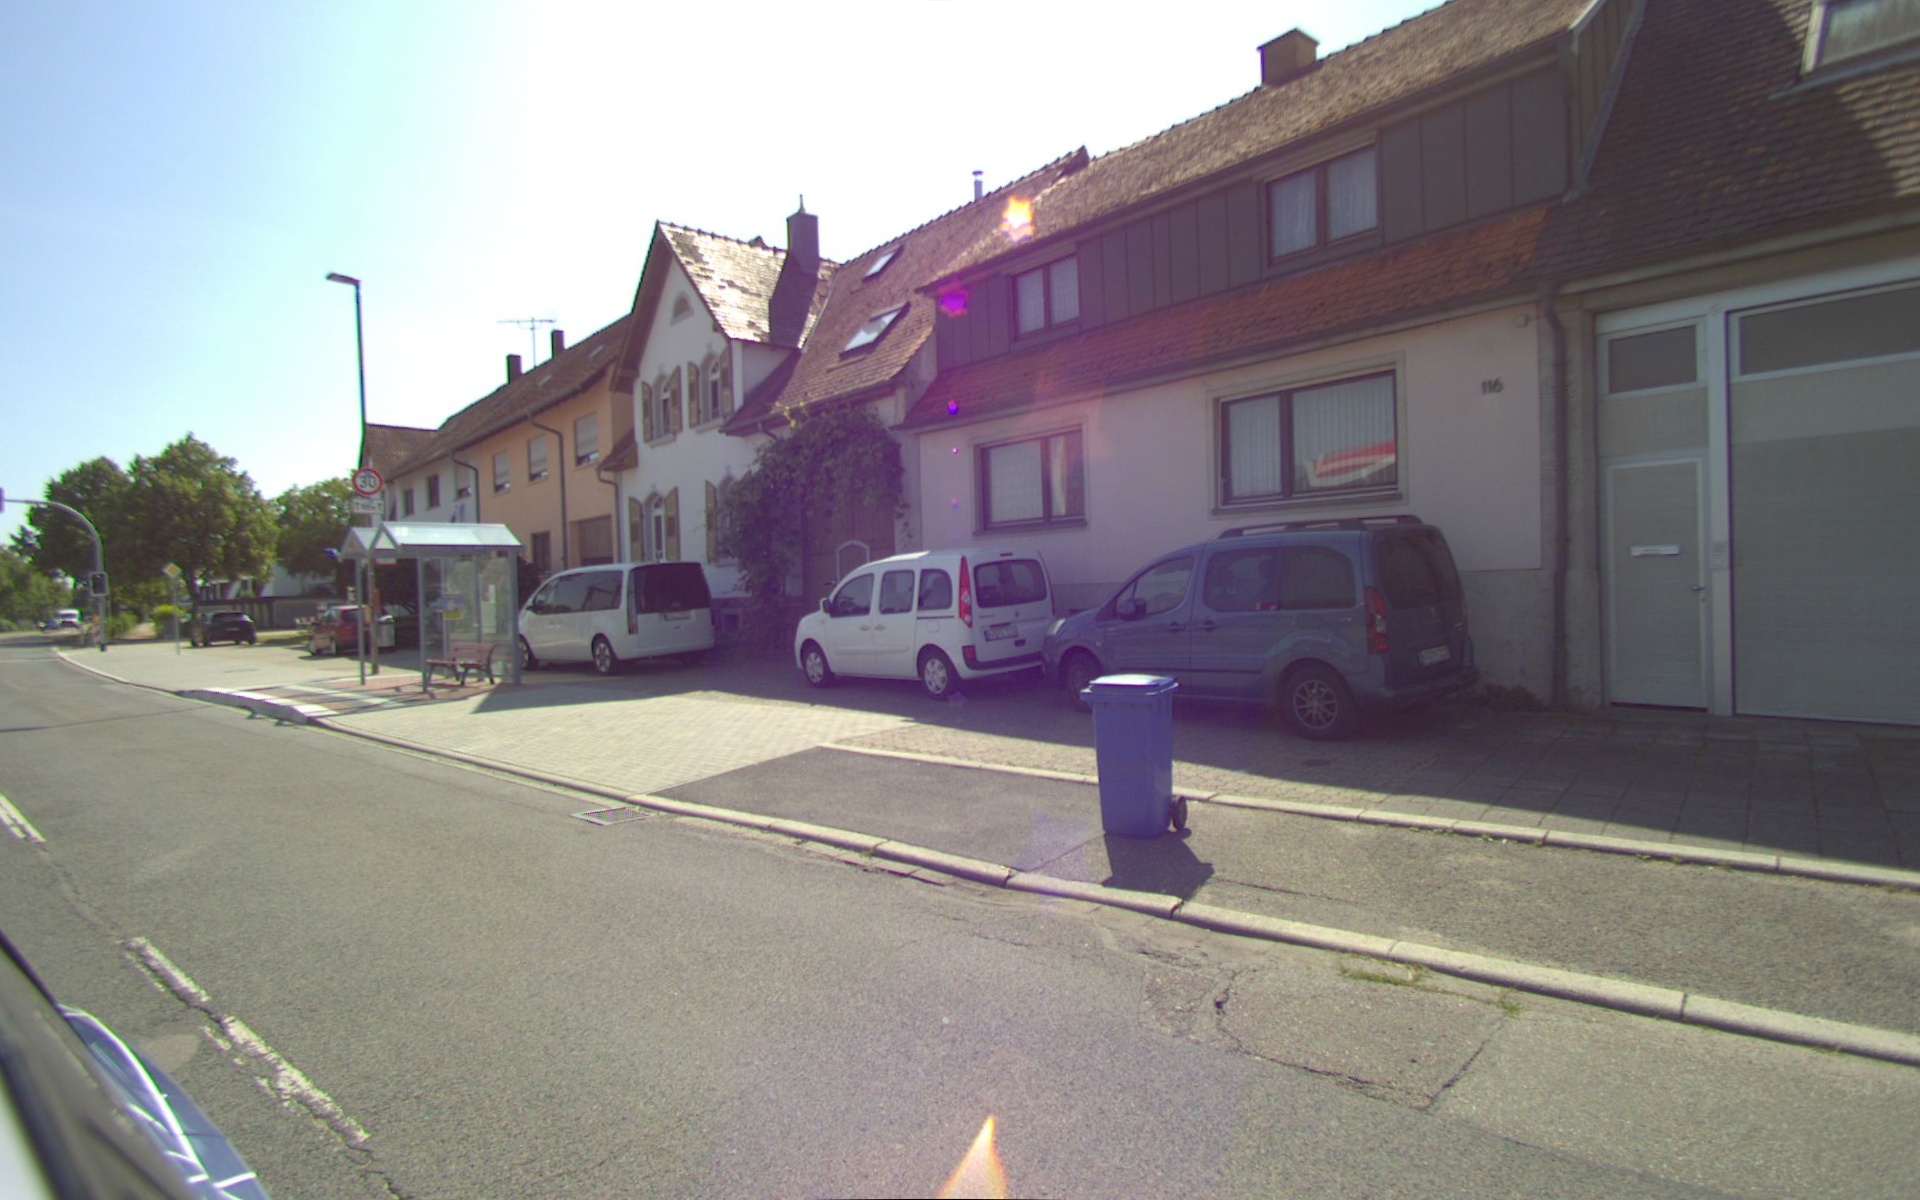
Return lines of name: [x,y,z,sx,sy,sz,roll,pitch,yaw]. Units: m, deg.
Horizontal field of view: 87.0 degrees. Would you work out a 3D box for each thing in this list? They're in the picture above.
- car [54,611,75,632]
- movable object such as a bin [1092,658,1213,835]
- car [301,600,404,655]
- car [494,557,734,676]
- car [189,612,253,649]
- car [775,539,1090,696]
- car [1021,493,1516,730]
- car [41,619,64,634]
car: [-116.605,2.774,131.858,1.910,2.521,5.847,-1,0,-40]
movable object such as a bin: [1.163,0.850,6.081,0.513,0.943,0.553,-1,2,33]
car: [-18.396,0.855,30.594,3.916,1.464,1.695,-3,0,45]
car: [-6.835,0.266,19.648,5.265,2.001,2.103,-1,1,43]
car: [-31.532,1.252,43.134,1.694,1.418,4.402,0,0,-43]
car: [-0.523,0.182,13.737,1.944,1.787,4.282,-2,1,-42]
car: [2.780,0.054,10.005,1.814,1.806,4.351,-5,2,-38]
car: [-107.603,3.133,120.010,1.818,1.604,4.112,-1,0,-40]
